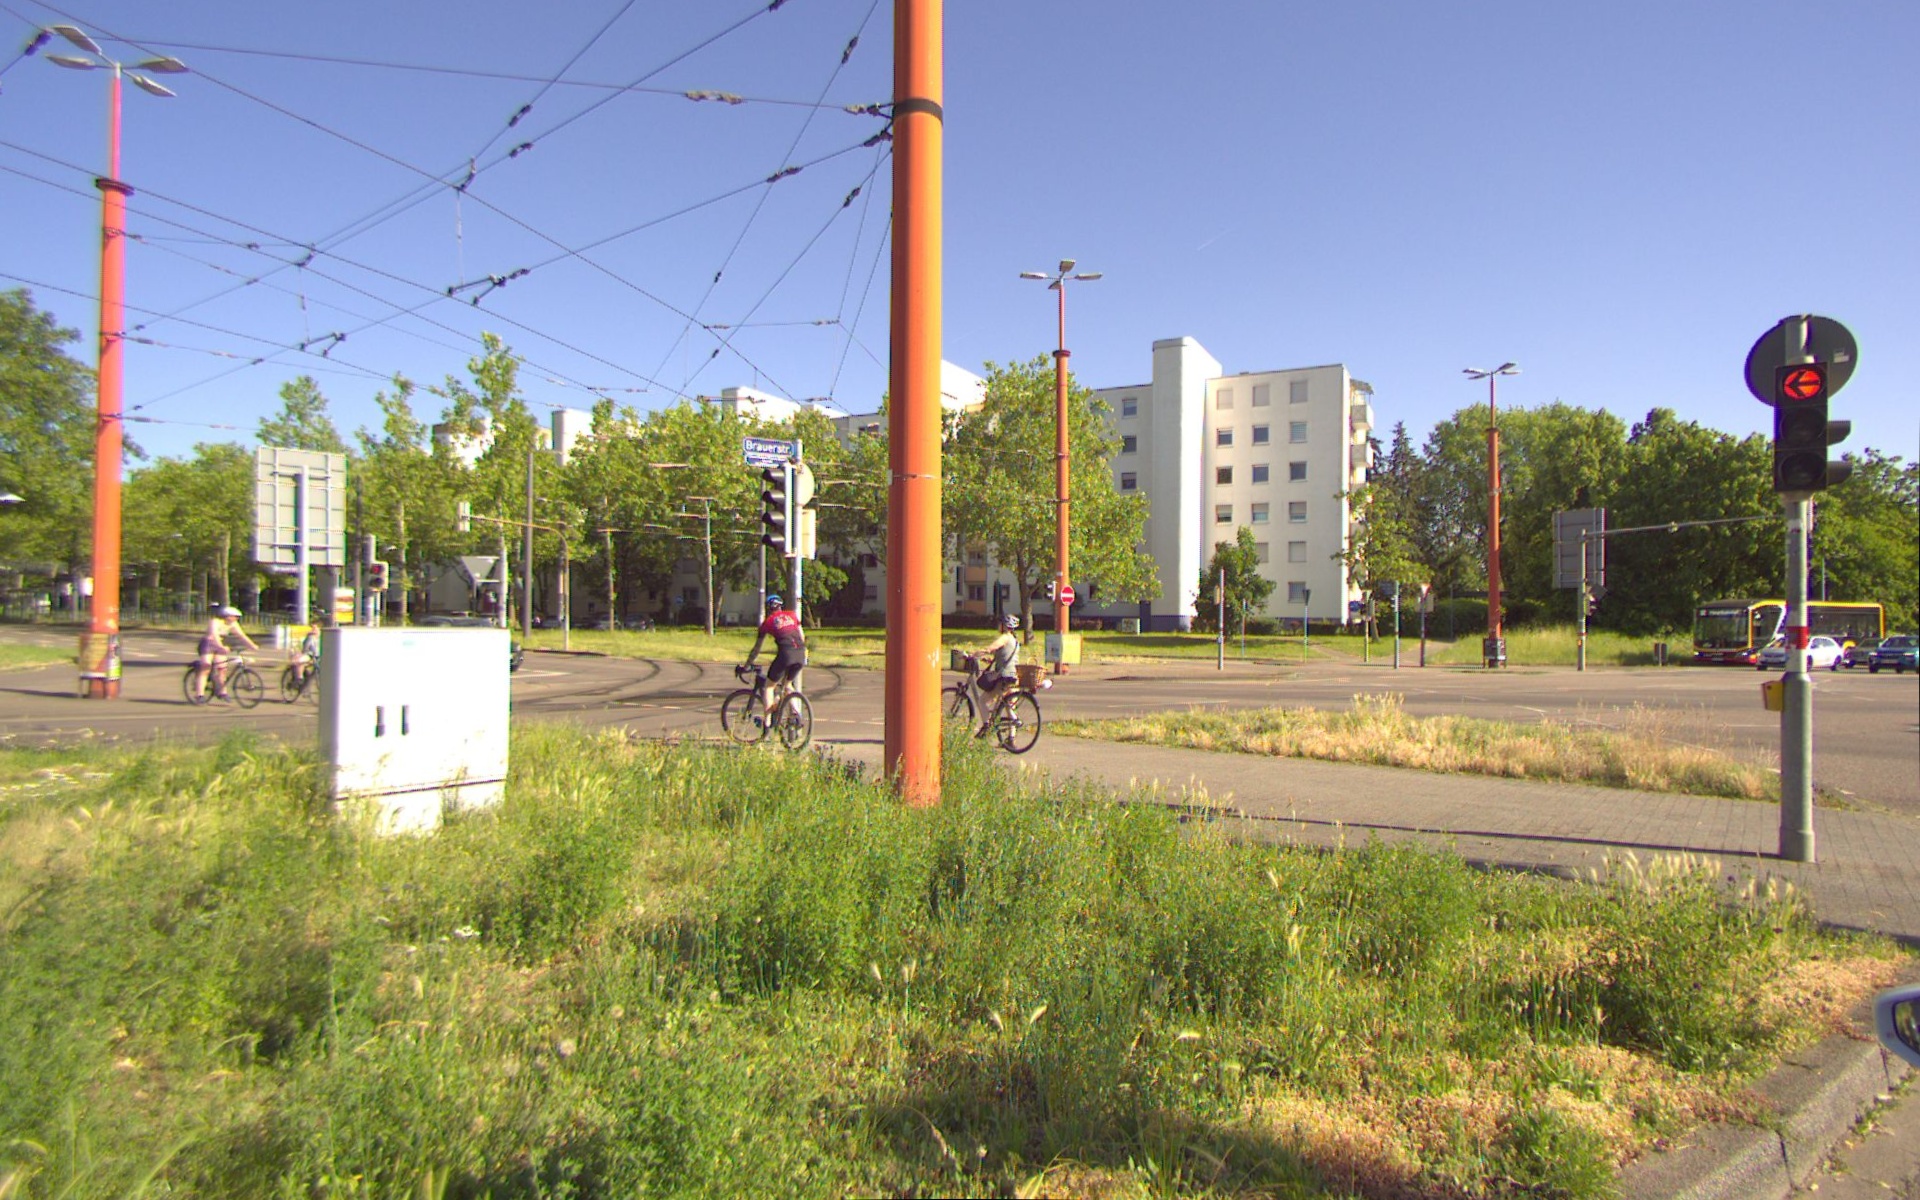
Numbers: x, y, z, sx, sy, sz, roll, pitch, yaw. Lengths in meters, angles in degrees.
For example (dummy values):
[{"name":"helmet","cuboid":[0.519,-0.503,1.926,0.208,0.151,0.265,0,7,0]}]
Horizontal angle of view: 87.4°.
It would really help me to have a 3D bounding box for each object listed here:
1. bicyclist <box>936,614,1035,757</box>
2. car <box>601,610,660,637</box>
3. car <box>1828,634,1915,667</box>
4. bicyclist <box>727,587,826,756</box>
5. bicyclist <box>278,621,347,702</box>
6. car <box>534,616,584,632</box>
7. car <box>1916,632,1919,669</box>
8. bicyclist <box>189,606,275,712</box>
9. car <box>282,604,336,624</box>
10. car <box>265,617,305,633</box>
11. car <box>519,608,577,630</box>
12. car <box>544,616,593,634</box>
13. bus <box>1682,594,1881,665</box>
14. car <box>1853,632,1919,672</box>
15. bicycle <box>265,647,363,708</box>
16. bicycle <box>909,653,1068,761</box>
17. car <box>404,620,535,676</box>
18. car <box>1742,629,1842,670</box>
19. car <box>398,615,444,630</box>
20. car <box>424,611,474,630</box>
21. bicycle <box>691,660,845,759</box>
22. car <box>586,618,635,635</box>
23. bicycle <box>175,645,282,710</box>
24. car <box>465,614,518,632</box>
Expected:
[{"name":"bicyclist","cuboid":[0.316,0.999,12.225,0.815,1.643,0.888,0,-1,41]},{"name":"car","cuboid":[-23.668,1.691,72.294,3.874,1.841,1.651,2,0,-13]},{"name":"car","cuboid":[43.137,2.370,47.530,3.952,1.533,1.877,1,-2,-29]},{"name":"bicyclist","cuboid":[-2.215,0.845,12.098,0.974,1.938,0.685,-1,-2,33]},{"name":"bicyclist","cuboid":[-12.894,1.198,20.002,0.906,1.545,0.720,2,0,20]},{"name":"car","cuboid":[-30.897,1.845,77.434,3.346,1.162,1.305,2,0,-13]},{"name":"car","cuboid":[42.608,2.165,42.714,3.955,1.575,1.891,2,-2,-32]},{"name":"bicyclist","cuboid":[-13.597,1.079,18.773,0.905,1.892,0.893,2,0,17]},{"name":"car","cuboid":[-66.303,1.450,102.353,4.274,2.010,1.932,1,-1,-19]},{"name":"car","cuboid":[-63.870,2.365,95.068,3.884,1.522,1.833,-1,-3,35]},{"name":"car","cuboid":[-32.549,1.495,79.430,3.868,1.614,1.656,2,0,-8]},{"name":"car","cuboid":[-29.329,1.878,75.337,3.219,1.172,1.357,2,0,-12]},{"name":"bus","cuboid":[42.067,1.550,51.272,12.362,3.304,2.639,2,0,-24]},{"name":"car","cuboid":[37.298,2.036,39.763,3.813,1.535,1.793,1,-3,-30]},{"name":"bicycle","cuboid":[-12.856,1.531,19.995,1.878,1.086,0.580,2,0,19]},{"name":"bicycle","cuboid":[0.317,1.249,12.184,1.887,1.146,0.737,0,-1,41]},{"name":"car","cuboid":[-15.220,1.436,31.096,3.977,1.516,1.913,2,0,34]},{"name":"car","cuboid":[35.367,2.106,42.685,4.168,1.673,1.869,2,-3,-29]},{"name":"car","cuboid":[-46.627,1.912,86.951,3.370,1.204,1.439,2,0,-23]},{"name":"car","cuboid":[-43.260,1.749,85.097,3.592,1.480,1.608,2,0,-19]},{"name":"bicycle","cuboid":[-2.349,1.291,12.182,1.883,1.085,0.690,-2,-2,33]},{"name":"car","cuboid":[-25.832,1.984,74.310,3.279,1.149,1.321,2,0,-11]},{"name":"bicycle","cuboid":[-13.640,1.435,18.731,1.877,1.086,0.580,2,0,17]},{"name":"car","cuboid":[-38.841,1.906,83.385,3.665,1.349,1.496,2,0,-8]}]
